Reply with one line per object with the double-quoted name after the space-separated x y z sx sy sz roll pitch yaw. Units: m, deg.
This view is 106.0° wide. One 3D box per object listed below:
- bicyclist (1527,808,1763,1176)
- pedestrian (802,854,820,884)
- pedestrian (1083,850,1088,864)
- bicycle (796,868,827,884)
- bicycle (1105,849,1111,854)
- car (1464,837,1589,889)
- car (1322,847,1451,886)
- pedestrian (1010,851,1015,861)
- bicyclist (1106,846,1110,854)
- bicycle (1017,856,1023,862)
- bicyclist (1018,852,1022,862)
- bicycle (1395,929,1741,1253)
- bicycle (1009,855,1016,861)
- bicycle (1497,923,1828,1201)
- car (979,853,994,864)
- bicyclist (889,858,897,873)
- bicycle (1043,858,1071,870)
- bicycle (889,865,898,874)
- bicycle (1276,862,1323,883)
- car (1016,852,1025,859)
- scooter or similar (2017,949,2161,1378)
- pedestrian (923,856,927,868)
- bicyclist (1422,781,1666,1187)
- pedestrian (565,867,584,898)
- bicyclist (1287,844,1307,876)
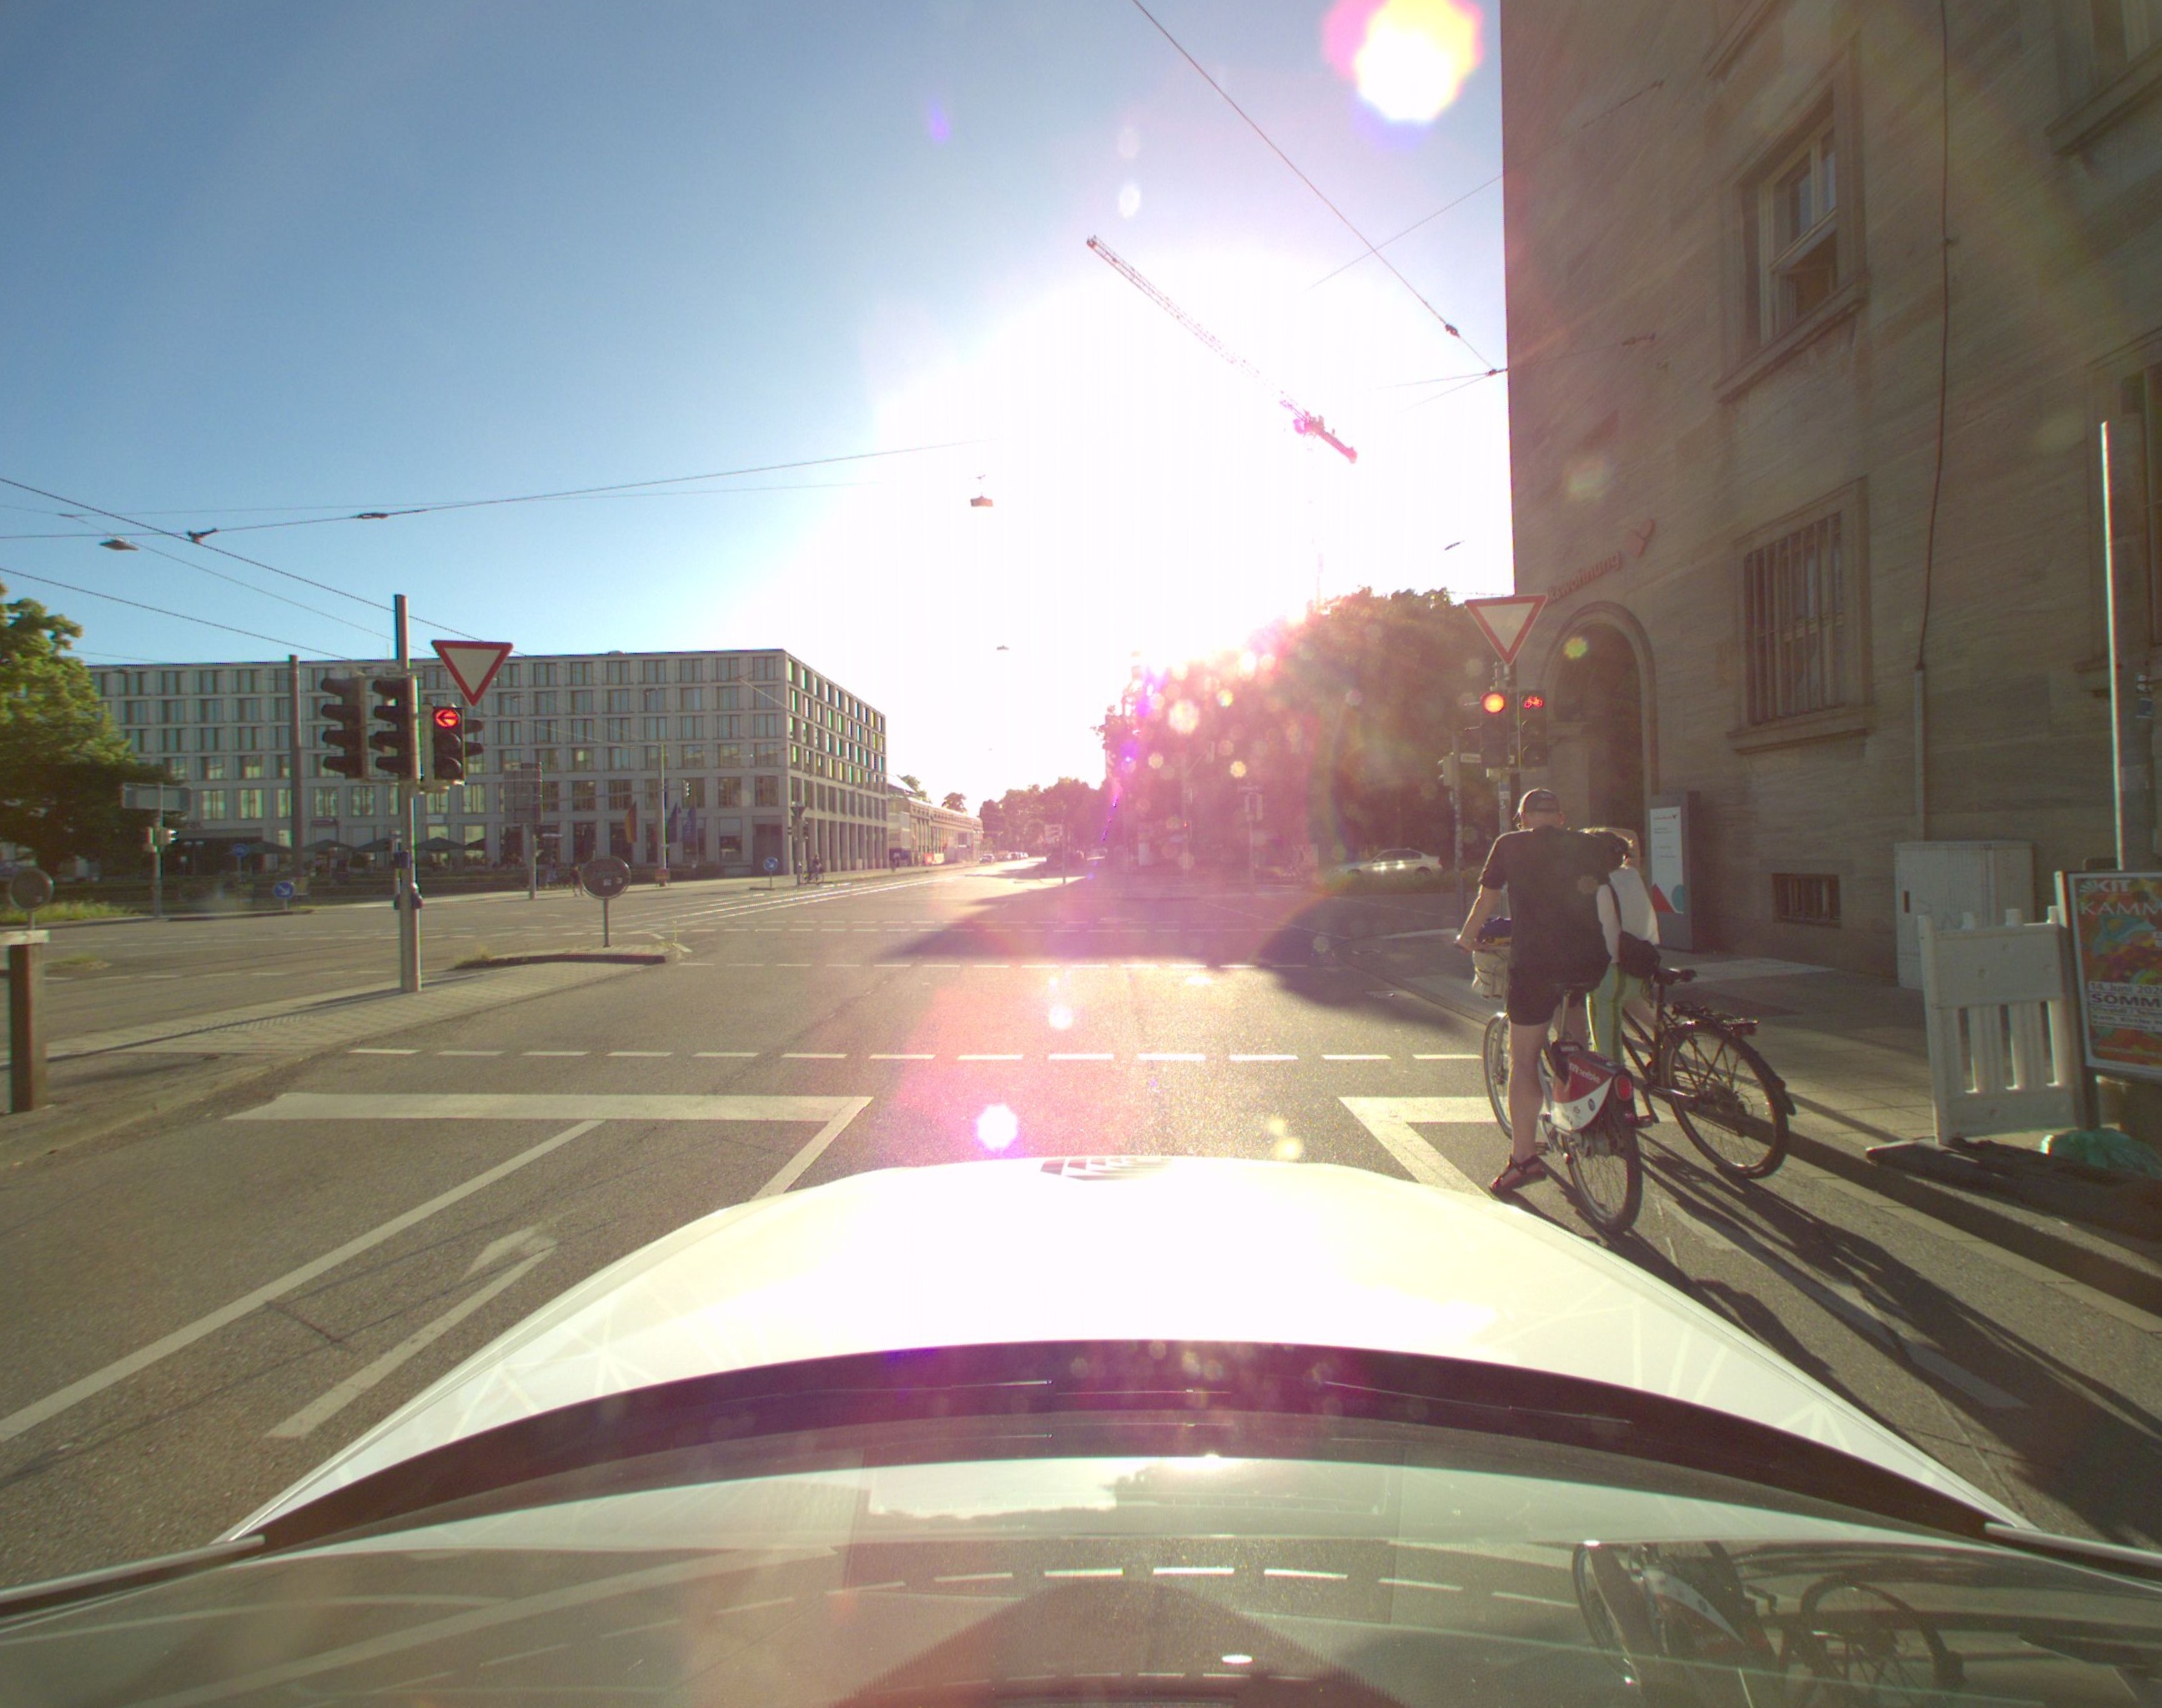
2.949 0.659 4.362 0.581 1.738 0.951 -2 0 2 "bicyclist"
-14.697 0.795 44.342 0.735 1.595 0.577 -2 0 29 "pedestrian"
0.544 0.317 97.811 0.576 1.689 0.584 -2 0 -6 "pedestrian"
-14.694 1.185 44.339 1.696 0.823 0.577 -2 0 29 "bicycle"
6.642 -0.639 200.693 0.890 1.219 2.784 0 -1 -9 "bicycle"
17.879 0.354 32.847 3.970 2.014 2.002 0 -1 3 "car"
12.432 0.507 33.405 4.559 1.516 2.001 0 -1 1 "car"
-13.235 0.371 157.414 0.746 2.063 1.052 0 -1 7 "pedestrian"
6.626 -1.039 200.674 0.891 2.014 0.746 0 -1 -10 "bicyclist"
-12.200 0.949 163.167 0.748 1.205 3.108 0 -1 1 "bicycle"
-12.181 0.574 163.051 0.748 1.920 1.214 0 -1 1 "bicyclist"
2.177 0.975 3.950 0.621 1.044 1.747 -2 0 1 "bicycle"
-13.194 0.782 157.343 0.746 1.205 3.114 0 -1 7 "bicycle"
2.958 0.974 4.395 0.579 1.044 1.748 -2 0 3 "bicycle"
-15.807 0.740 136.355 1.988 1.599 3.999 -2 0 -1 "car"
-18.403 1.111 79.662 0.492 1.498 0.667 -2 0 4 "bicyclist"
-1.977 0.797 67.428 2.240 0.940 0.653 -2 0 -4 "bicycle"
-18.385 1.562 79.729 0.492 0.839 1.158 -2 0 4 "bicycle"
9.709 0.832 36.275 1.932 0.889 0.719 -1 -1 8 "bicycle"
-14.436 0.265 195.320 1.988 1.644 3.998 -2 0 -1 "car"
3.306 0.873 1.961 0.572 1.150 1.270 -1 -1 -4 "scooter or similar"
-23.924 1.269 124.905 0.585 1.889 0.478 0 -1 1 "pedestrian"
2.170 0.555 3.940 0.621 1.715 0.913 -2 0 1 "bicyclist"
-28.254 1.584 45.399 0.599 1.681 0.608 -2 0 13 "pedestrian"
9.616 0.269 36.288 0.742 1.406 0.704 -1 -1 8 "bicyclist"
